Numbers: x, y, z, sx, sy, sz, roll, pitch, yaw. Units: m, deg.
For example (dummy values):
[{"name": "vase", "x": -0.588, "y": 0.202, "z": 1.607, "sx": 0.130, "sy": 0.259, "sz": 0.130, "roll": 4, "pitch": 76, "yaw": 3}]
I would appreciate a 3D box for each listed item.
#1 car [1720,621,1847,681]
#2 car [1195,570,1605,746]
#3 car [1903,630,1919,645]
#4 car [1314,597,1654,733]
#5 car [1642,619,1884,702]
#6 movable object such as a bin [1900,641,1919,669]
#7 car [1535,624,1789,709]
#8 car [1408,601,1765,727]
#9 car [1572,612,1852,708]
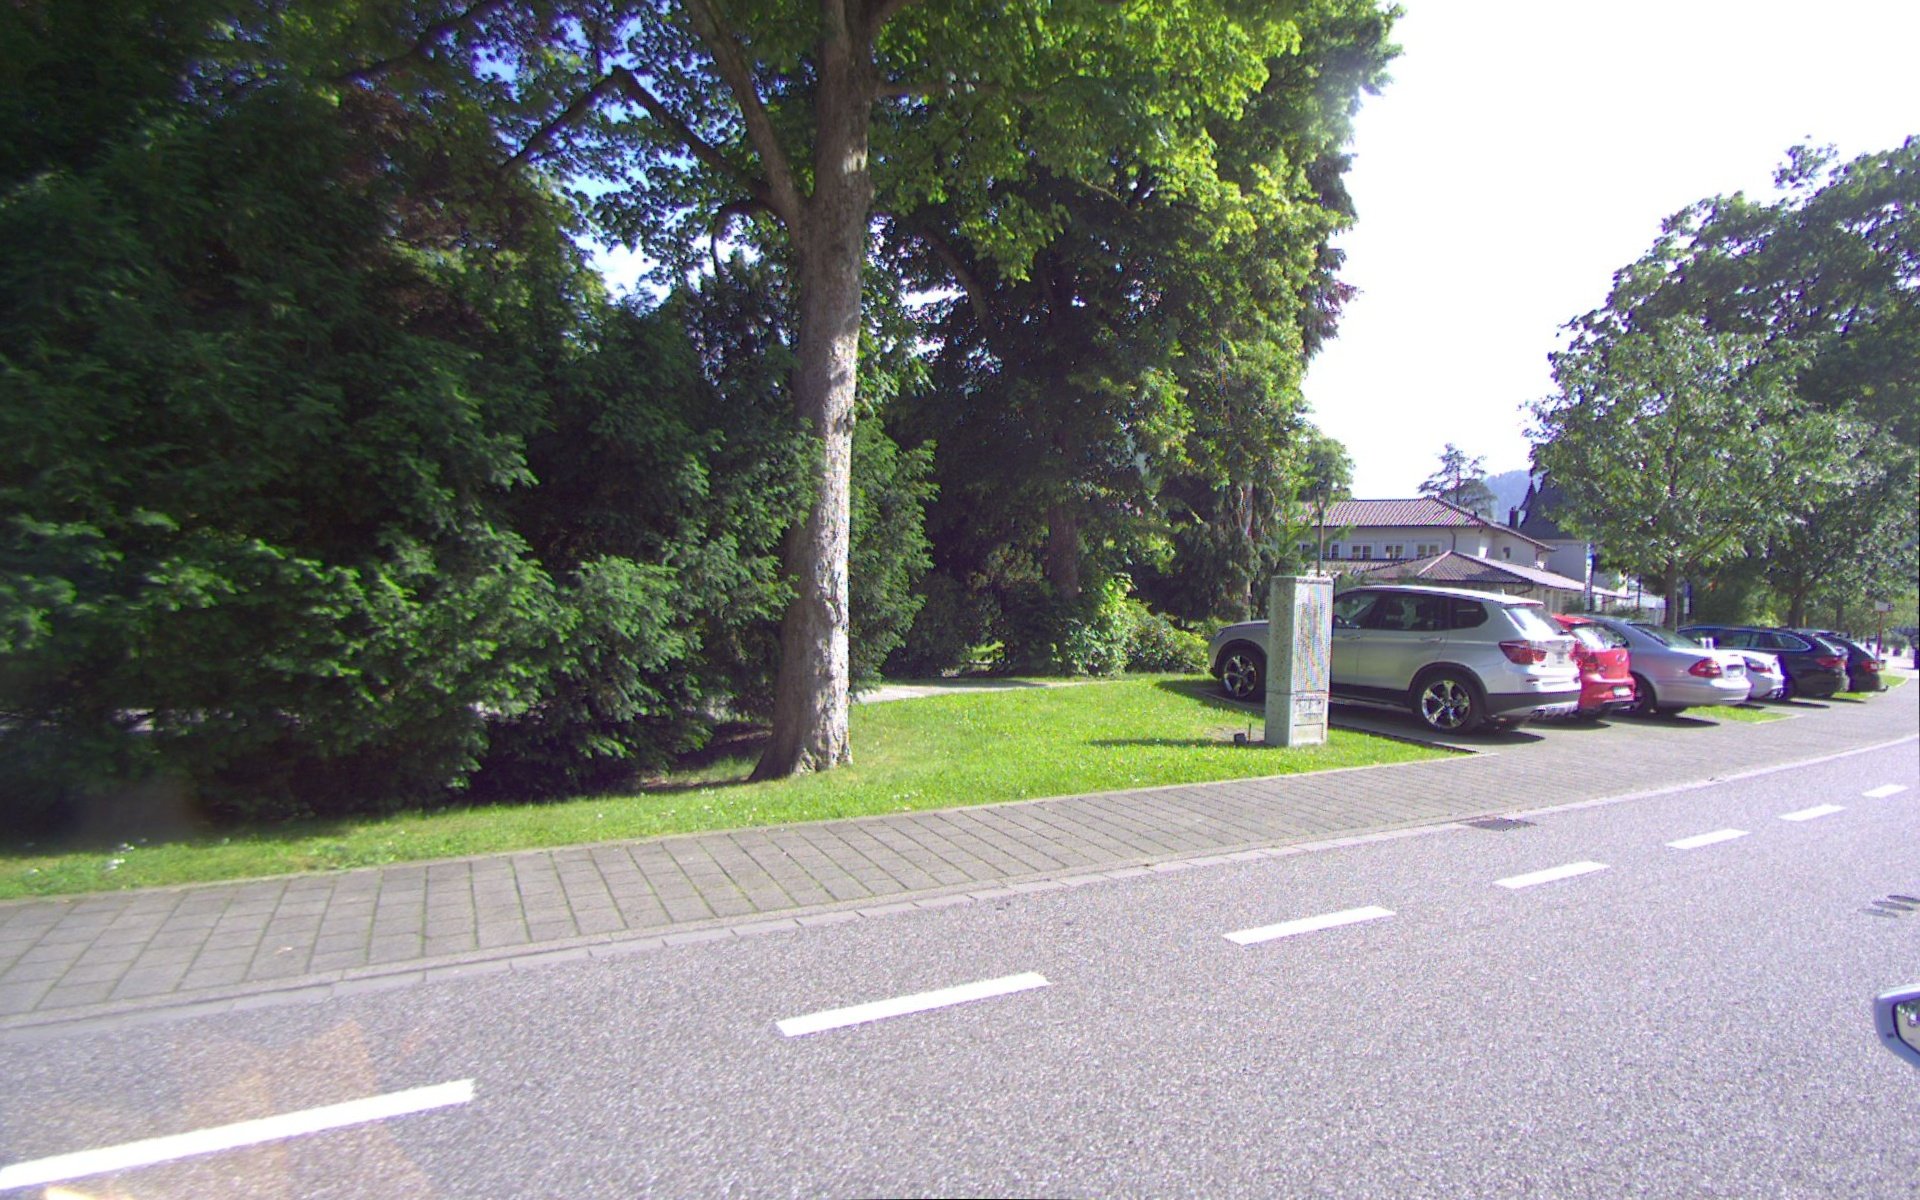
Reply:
[{"name": "car", "x": 25.307, "y": 1.552, "z": 30.917, "sx": 1.667, "sy": 1.567, "sz": 2.631, "roll": 3, "pitch": 2, "yaw": -37}, {"name": "car", "x": 5.459, "y": 0.606, "z": 12.988, "sx": 1.796, "sy": 1.685, "sz": 4.443, "roll": 3, "pitch": 2, "yaw": -40}, {"name": "car", "x": 111.330, "y": 4.386, "z": 115.361, "sx": 3.925, "sy": 1.684, "sz": 1.998, "roll": 1, "pitch": 0, "yaw": 26}, {"name": "car", "x": 7.420, "y": 0.835, "z": 14.536, "sx": 1.706, "sy": 1.451, "sz": 3.952, "roll": 3, "pitch": 2, "yaw": -41}, {"name": "car", "x": 18.645, "y": 1.344, "z": 23.506, "sx": 4.226, "sy": 1.451, "sz": 1.704, "roll": 5, "pitch": 2, "yaw": 41}, {"name": "movable object such as a bin", "x": 51.709, "y": 2.989, "z": 54.376, "sx": 1.067, "sy": 1.446, "sz": 1.369, "roll": 5, "pitch": 2, "yaw": 43}, {"name": "car", "x": 13.612, "y": 1.234, "z": 19.608, "sx": 1.751, "sy": 1.259, "sz": 3.756, "roll": 3, "pitch": 1, "yaw": -44}, {"name": "car", "x": 9.785, "y": 0.913, "z": 16.013, "sx": 1.796, "sy": 1.436, "sz": 4.443, "roll": 3, "pitch": 2, "yaw": -40}, {"name": "car", "x": 15.735, "y": 1.178, "z": 21.209, "sx": 1.701, "sy": 1.530, "sz": 4.449, "roll": 2, "pitch": 2, "yaw": -44}]
